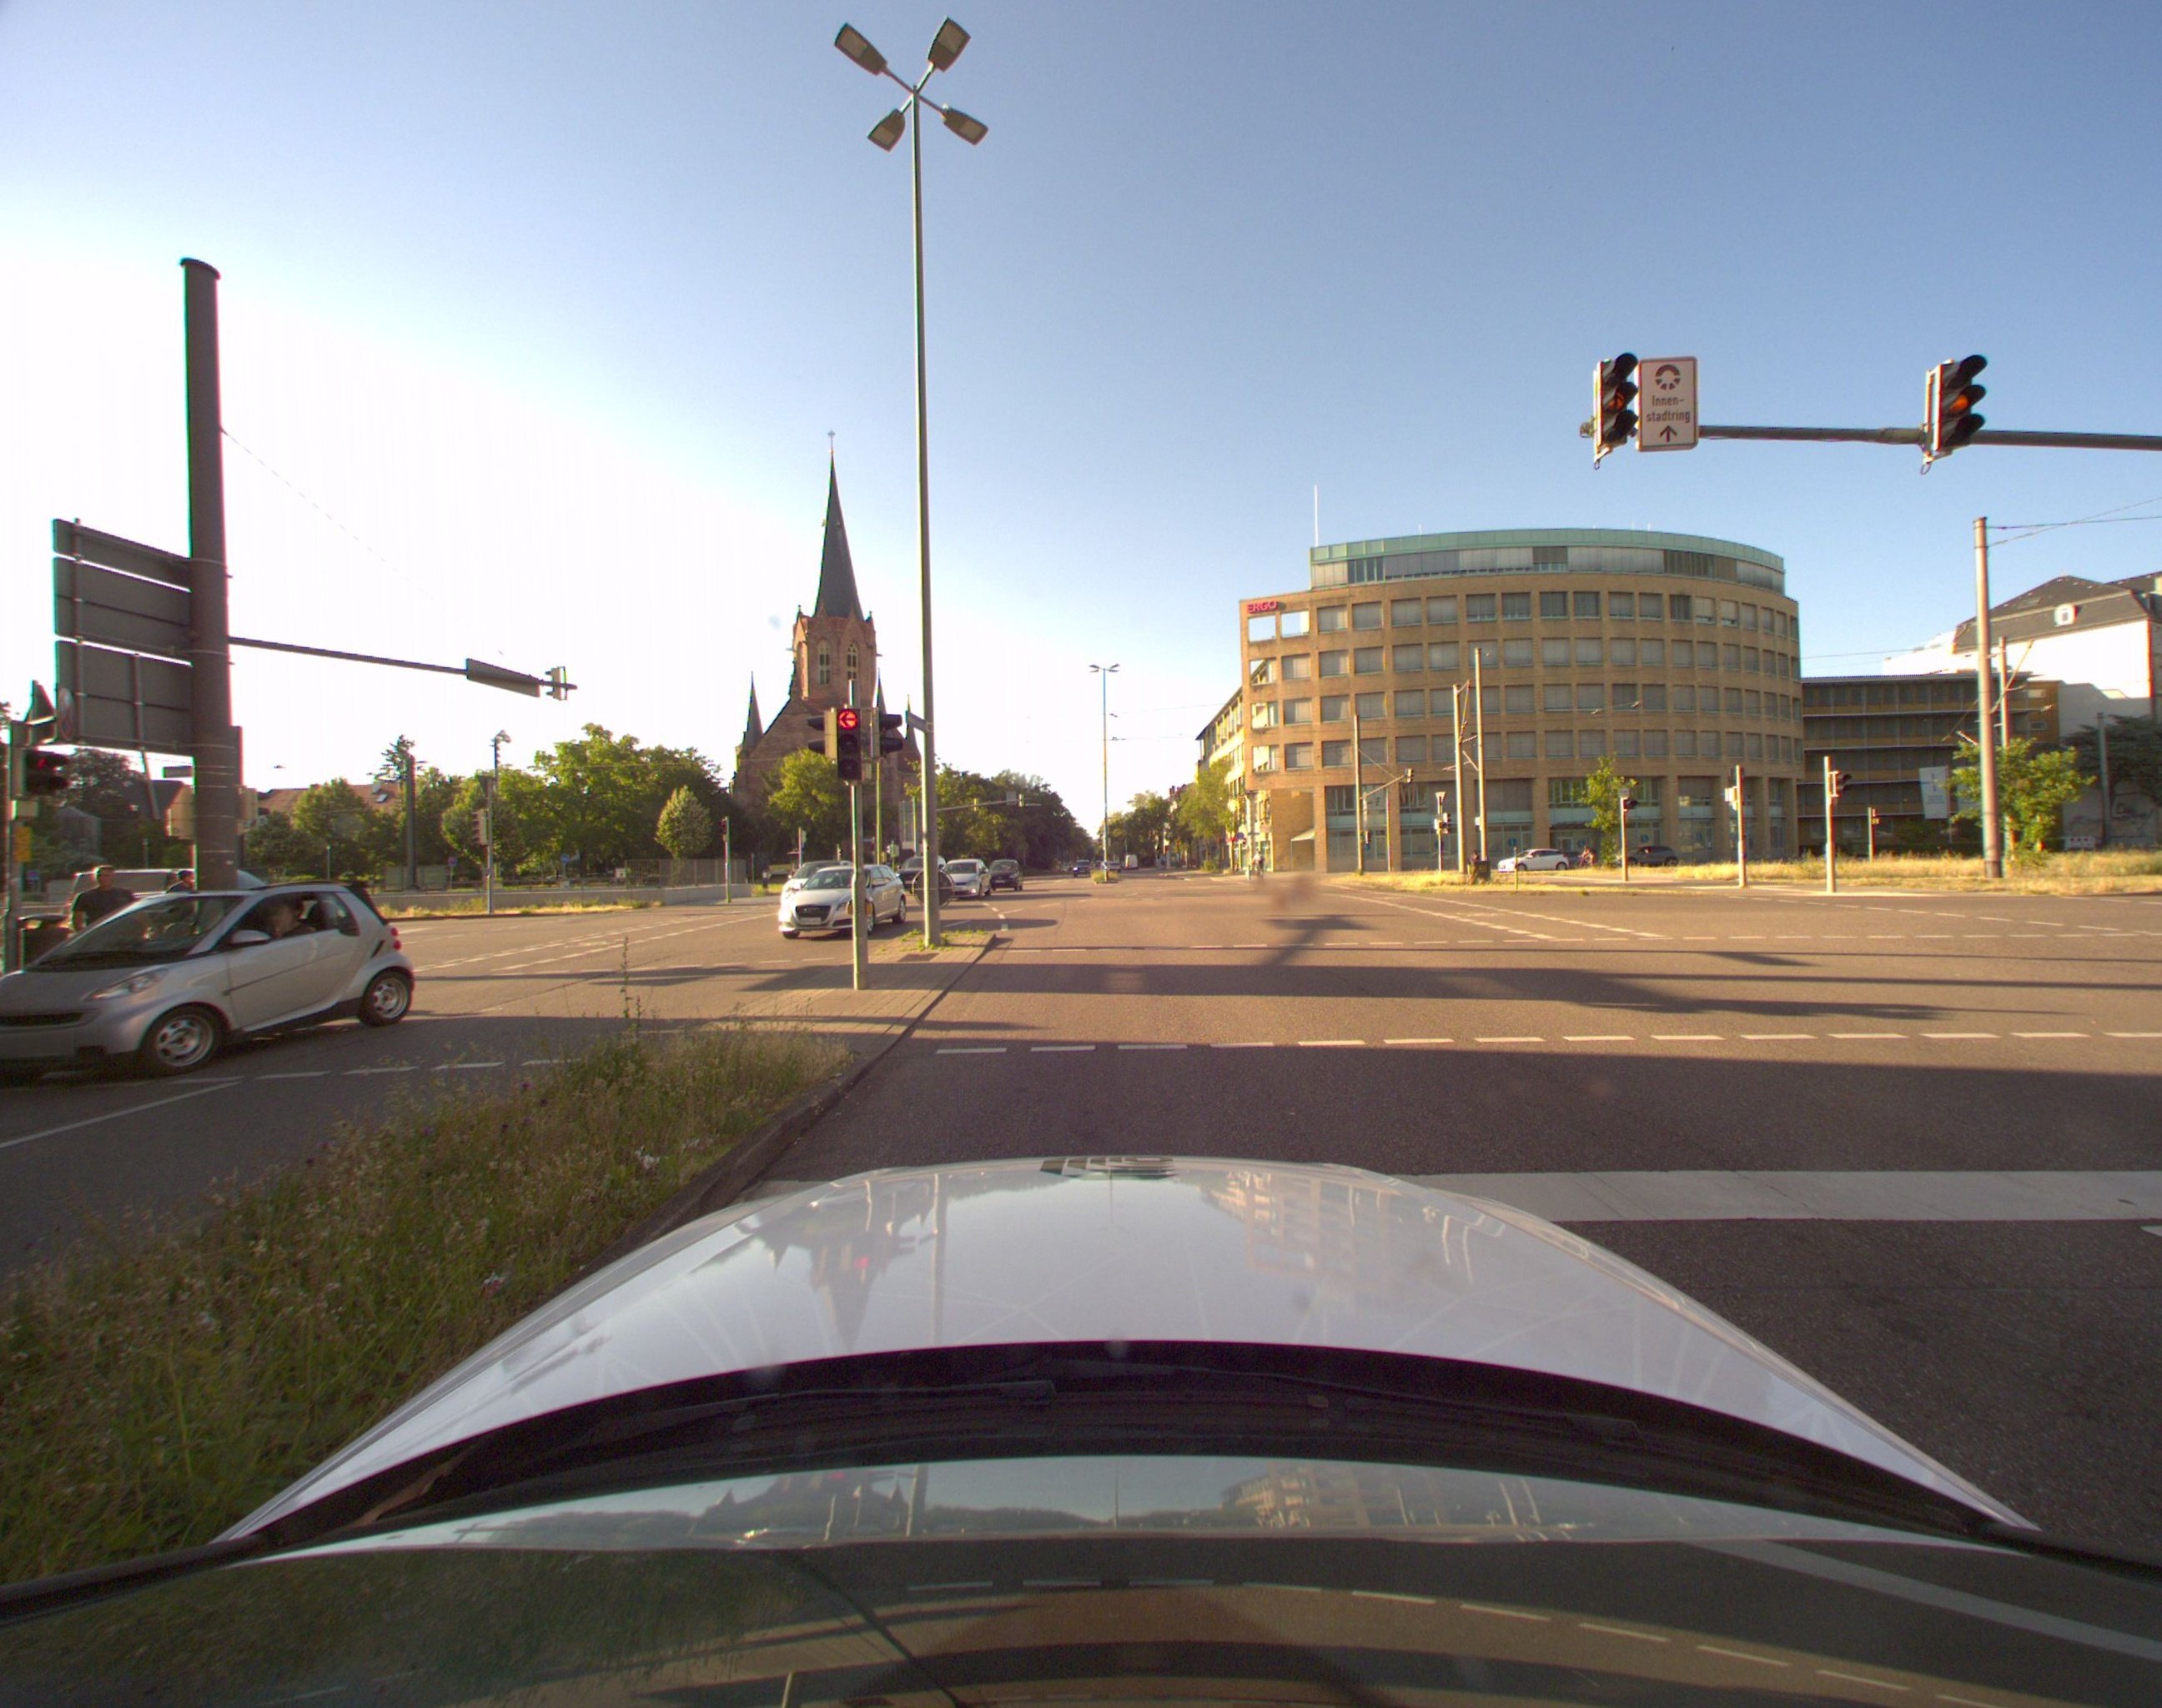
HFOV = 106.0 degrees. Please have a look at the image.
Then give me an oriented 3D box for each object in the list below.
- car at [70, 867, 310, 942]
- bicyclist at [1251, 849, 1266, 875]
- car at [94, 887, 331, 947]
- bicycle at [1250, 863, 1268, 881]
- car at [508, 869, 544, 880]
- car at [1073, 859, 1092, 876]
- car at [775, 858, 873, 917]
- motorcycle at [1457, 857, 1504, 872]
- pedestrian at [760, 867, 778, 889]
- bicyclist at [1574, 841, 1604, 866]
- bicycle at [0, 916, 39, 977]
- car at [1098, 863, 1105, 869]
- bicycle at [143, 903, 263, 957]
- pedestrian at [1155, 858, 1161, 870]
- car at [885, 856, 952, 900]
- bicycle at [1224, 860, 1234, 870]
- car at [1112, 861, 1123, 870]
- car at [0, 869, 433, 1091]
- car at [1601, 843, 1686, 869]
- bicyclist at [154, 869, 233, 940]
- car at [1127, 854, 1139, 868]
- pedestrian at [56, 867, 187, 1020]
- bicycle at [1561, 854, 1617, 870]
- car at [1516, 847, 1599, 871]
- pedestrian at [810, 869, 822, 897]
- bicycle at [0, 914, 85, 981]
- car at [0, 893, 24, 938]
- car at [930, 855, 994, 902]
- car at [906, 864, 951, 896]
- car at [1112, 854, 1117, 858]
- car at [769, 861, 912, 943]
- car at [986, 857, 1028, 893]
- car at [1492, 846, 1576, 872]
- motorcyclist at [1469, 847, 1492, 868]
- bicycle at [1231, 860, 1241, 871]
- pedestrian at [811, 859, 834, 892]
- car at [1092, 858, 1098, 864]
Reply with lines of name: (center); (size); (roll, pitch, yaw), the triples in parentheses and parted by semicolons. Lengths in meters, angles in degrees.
car: (-26.625, 1.467, 24.474); (4.908, 2.014, 1.999); (-2, -1, -1)
bicyclist: (9.530, 0.409, 43.725); (0.590, 1.369, 0.930); (0, -1, 2)
car: (-22.648, 1.616, 21.359); (4.175, 1.312, 1.800); (-2, -1, -1)
bicycle: (9.552, 0.940, 43.812); (0.590, 0.943, 1.979); (0, -1, 2)
car: (-91.723, 3.375, 134.598); (4.450, 1.571, 1.993); (-2, -1, -10)
car: (0.200, 1.522, 87.931); (1.986, 1.724, 5.031); (-2, -1, 1)
car: (-7.772, 0.960, 24.959); (1.669, 1.544, 3.639); (-3, 0, 1)
motorcycle: (27.517, 0.721, 56.081); (2.708, 0.964, 1.032); (-2, -1, 0)
pedestrian: (-24.337, 1.858, 63.543); (1.004, 1.696, 0.850); (-1, -1, 29)
bicyclist: (33.236, -0.042, 53.273); (1.219, 1.572, 1.154); (-2, -1, 0)
bicycle: (-19.548, 1.665, 13.822); (0.732, 1.051, 2.300); (-2, -1, 1)
car: (4.869, 2.843, 193.071); (1.588, 1.267, 3.268); (-2, 0, 2)
bicycle: (-20.810, 1.784, 19.344); (1.770, 1.097, 0.952); (-3, 0, 1)
pedestrian: (12.279, 1.581, 130.452); (0.844, 1.803, 0.776); (-2, 0, 1)
car: (-7.242, 1.031, 36.751); (1.809, 1.711, 4.788); (-3, 0, 2)
bicycle: (15.317, 1.164, 84.493); (0.644, 0.994, 2.081); (-2, -1, 1)
car: (5.131, 1.609, 114.814); (1.588, 1.267, 3.268); (-2, 0, 2)
car: (-8.048, 1.005, 7.675); (1.530, 1.593, 2.808); (-3, 0, 0)
car: (35.223, 0.108, 51.023); (4.038, 1.492, 1.820); (-2, -1, 0)
bicyclist: (-21.061, 1.180, 19.344); (0.733, 1.598, 0.963); (-3, 0, 1)
car: (9.157, 1.296, 144.505); (1.986, 2.440, 4.002); (0, -1, 2)
pedestrian: (-11.872, 1.068, 10.100); (0.605, 1.787, 0.813); (1, 0, 5)
bicycle: (33.206, 0.526, 53.262); (2.951, 1.000, 1.154); (-2, -1, -1)
car: (32.751, 0.350, 56.060); (4.464, 1.537, 1.987); (-2, -1, 2)
pedestrian: (-16.765, 1.815, 51.495); (0.710, 1.696, 0.889); (0, -1, -21)
bicycle: (-18.743, 1.643, 13.844); (0.732, 1.051, 2.300); (-2, 0, 1)
car: (-35.086, 1.959, 24.589); (3.889, 1.374, 1.800); (-2, -1, -1)
car: (-4.376, 0.860, 30.522); (1.669, 1.544, 3.807); (-3, 0, 2)
car: (-8.173, 1.356, 43.879); (1.572, 1.544, 3.478); (-3, 0, 2)
car: (10.558, 0.660, 255.215); (1.588, 1.267, 3.268); (-2, 0, 2)
car: (-5.031, 0.932, 17.648); (1.702, 1.425, 4.104); (-3, 0, 2)
car: (-3.624, 0.996, 40.133); (1.572, 1.544, 3.478); (-3, 0, 2)
car: (28.345, 0.299, 51.010); (4.150, 1.492, 1.994); (-2, -1, -1)
motorcyclist: (27.518, 0.240, 56.090); (1.061, 1.435, 1.032); (-2, -1, 1)
bicycle: (15.209, 1.127, 79.930); (0.644, 0.994, 2.081); (-2, -1, 1)
pedestrian: (-13.857, 1.149, 43.667); (0.962, 1.739, 0.812); (-1, -1, 0)
car: (4.381, 2.225, 251.319); (1.879, 1.671, 4.002); (0, -1, 2)
